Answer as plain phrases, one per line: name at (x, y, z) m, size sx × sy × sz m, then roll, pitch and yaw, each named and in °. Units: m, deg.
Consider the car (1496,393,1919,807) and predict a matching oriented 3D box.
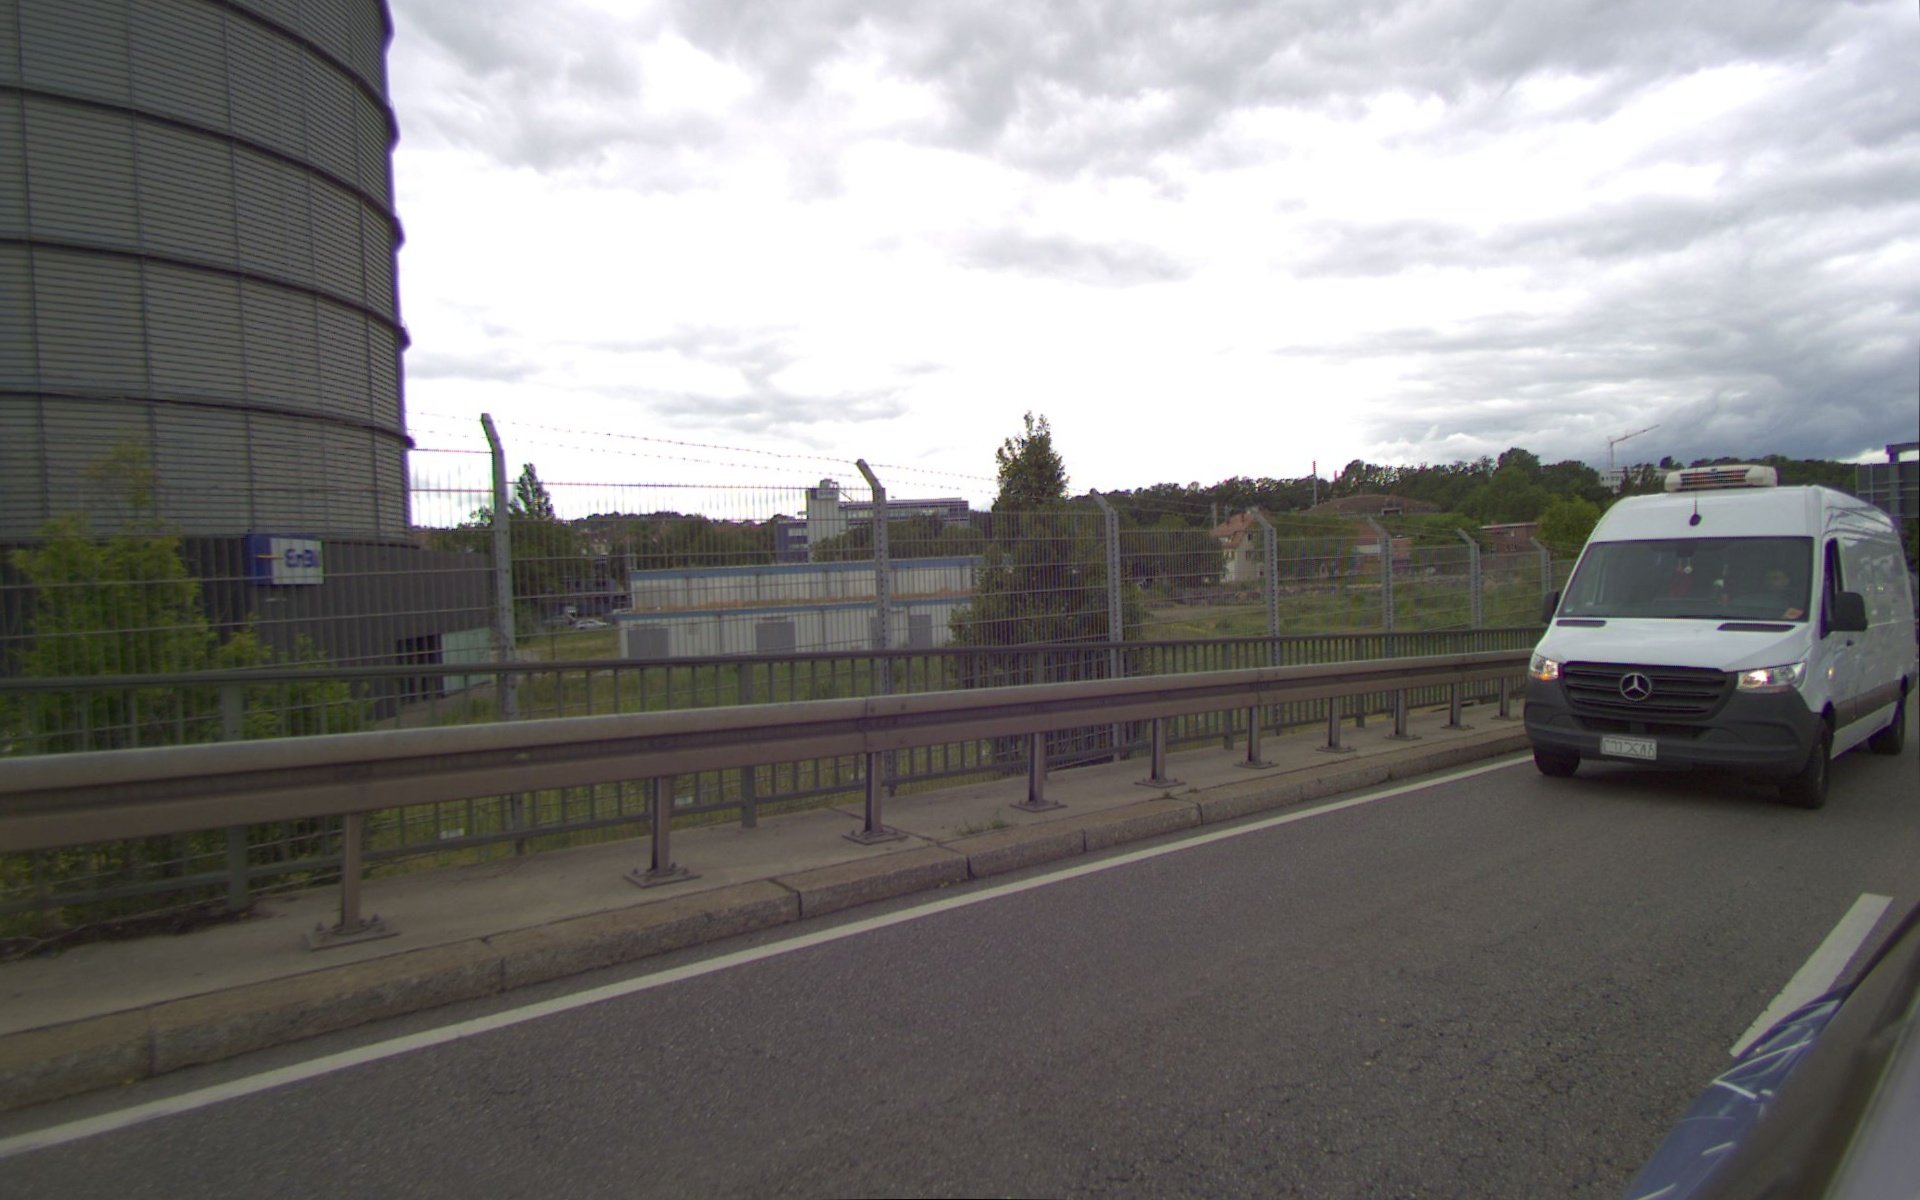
car at (7.743, -0.033, 9.864) m, size 6.659 × 2.818 × 2.114 m, roll -1°, pitch 0°, yaw -40°
